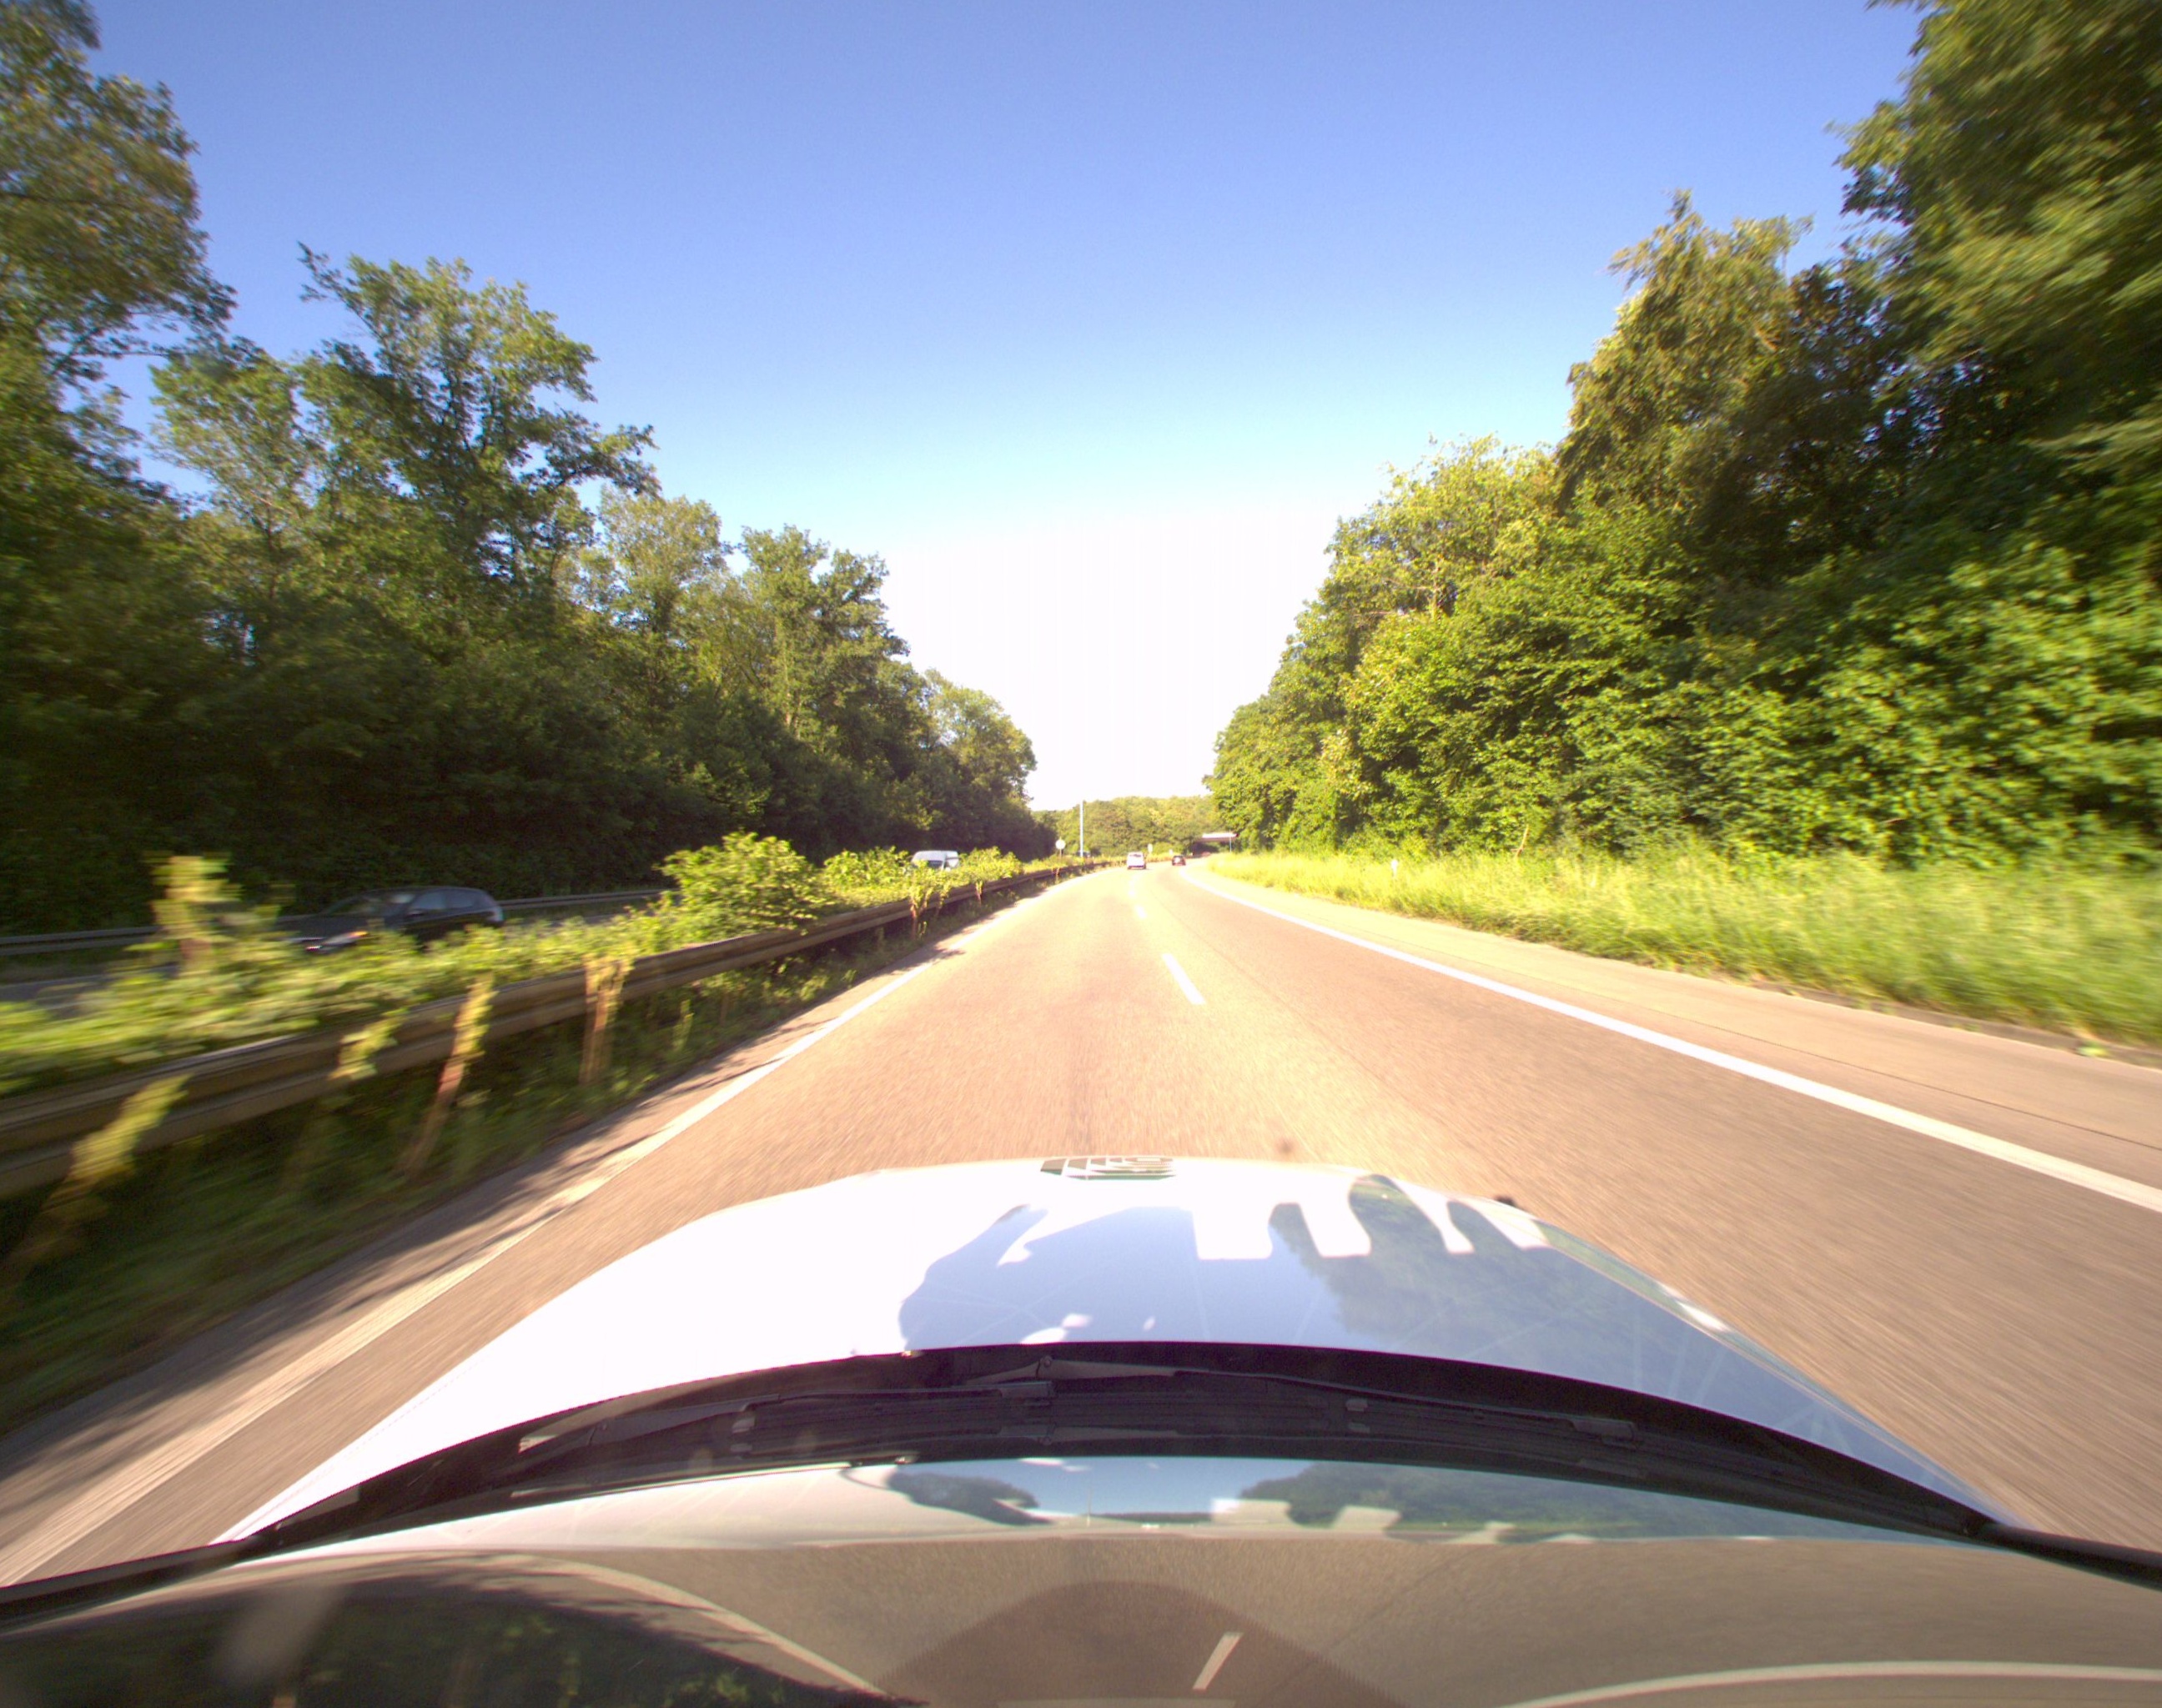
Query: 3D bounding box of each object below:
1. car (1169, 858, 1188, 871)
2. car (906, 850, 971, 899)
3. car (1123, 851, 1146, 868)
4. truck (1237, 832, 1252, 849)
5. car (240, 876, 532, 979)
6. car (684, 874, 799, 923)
[{"bbox_3d":[13.741,1.483,114.160,1.936,1.782,4.607,-1,-1,16],"label":"car"},{"bbox_3d":[-6.983,0.974,40.628,1.906,2.253,5.789,-1,-1,3],"label":"car"},{"bbox_3d":[5.643,0.605,86.644,1.947,1.782,4.582,-1,-1,-3],"label":"car"},{"bbox_3d":[45.072,-3.616,224.782,3.711,4.343,9.330,-1,-1,10],"label":"truck"},{"bbox_3d":[-13.181,1.294,15.926,1.892,1.626,4.501,-1,-1,-1],"label":"car"},{"bbox_3d":[-11.311,1.427,27.543,1.754,1.424,4.781,-1,-1,2],"label":"car"}]
